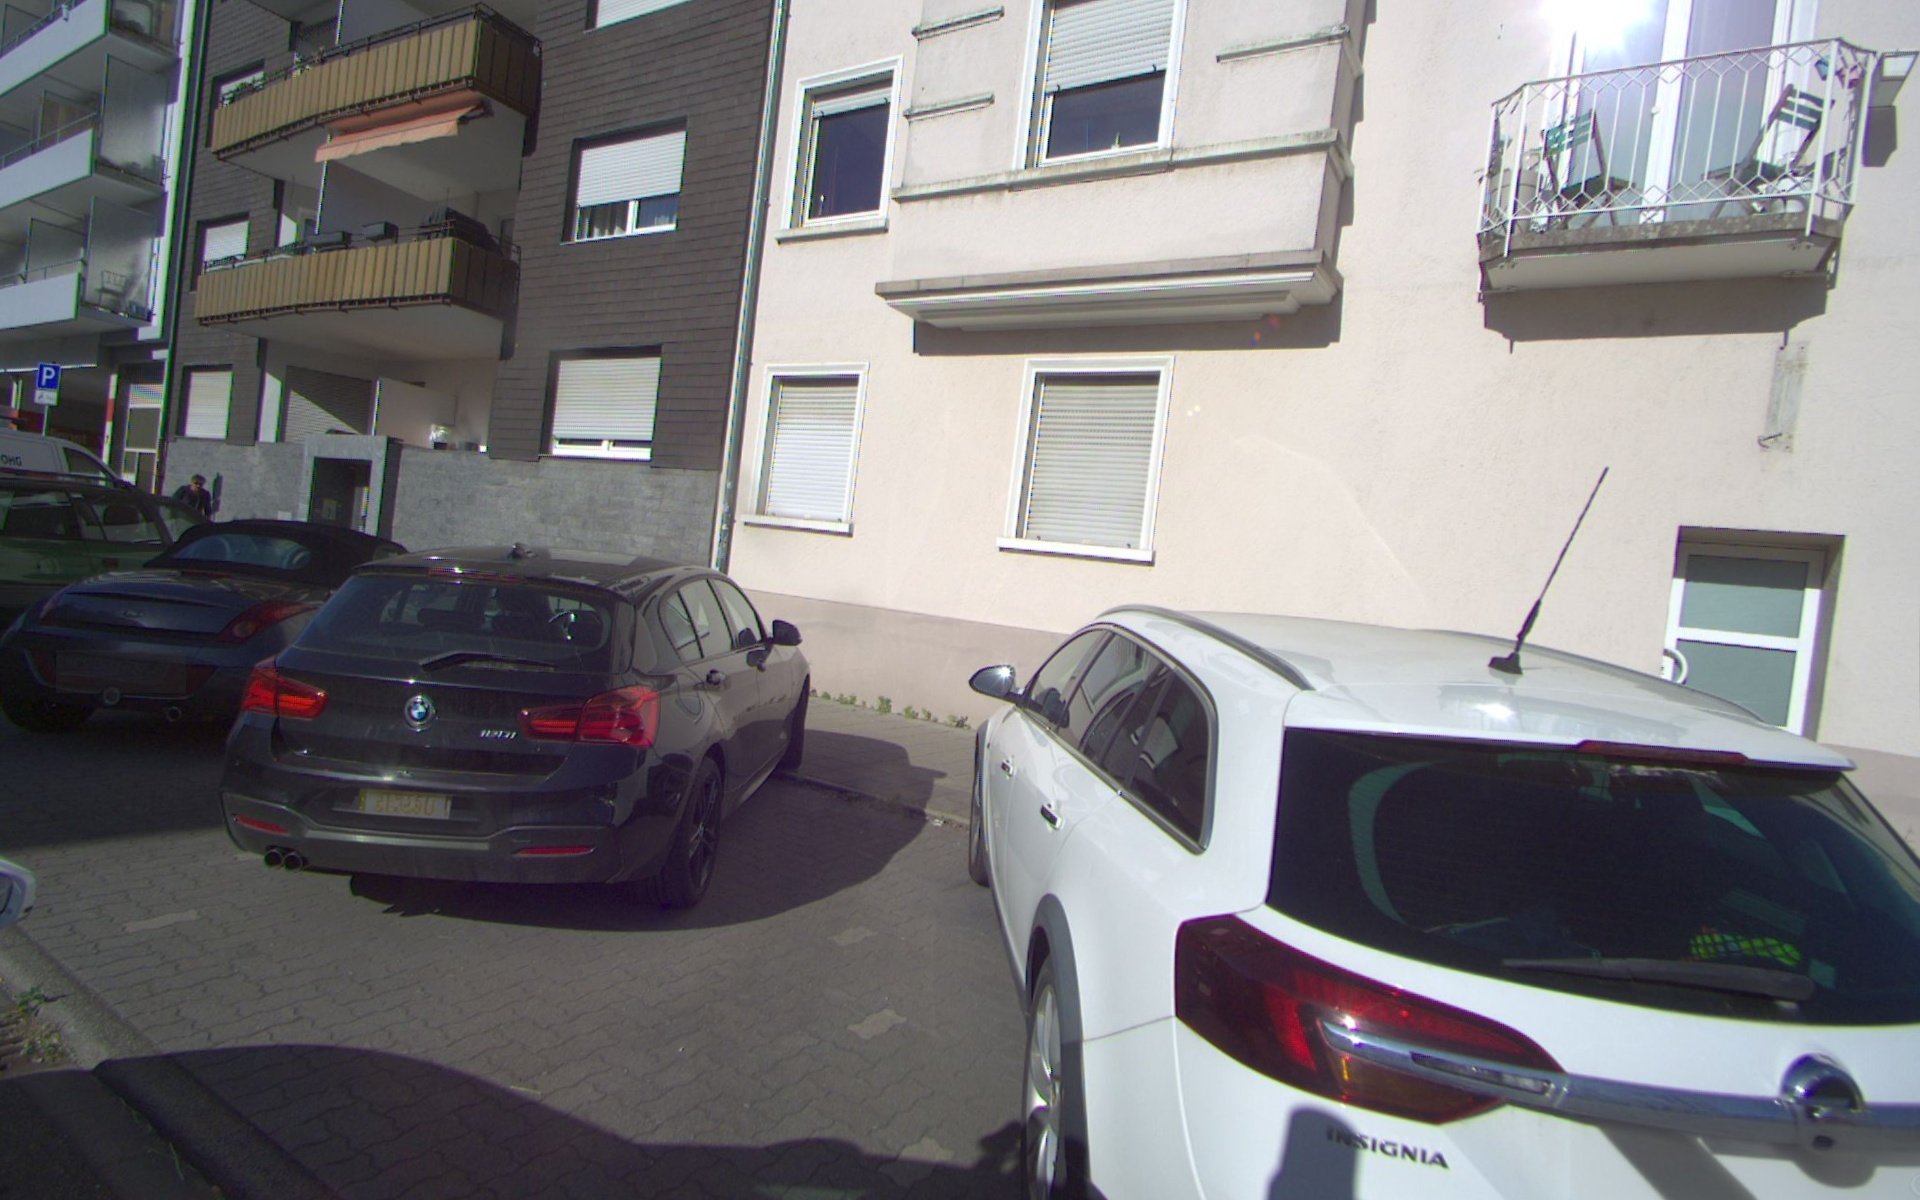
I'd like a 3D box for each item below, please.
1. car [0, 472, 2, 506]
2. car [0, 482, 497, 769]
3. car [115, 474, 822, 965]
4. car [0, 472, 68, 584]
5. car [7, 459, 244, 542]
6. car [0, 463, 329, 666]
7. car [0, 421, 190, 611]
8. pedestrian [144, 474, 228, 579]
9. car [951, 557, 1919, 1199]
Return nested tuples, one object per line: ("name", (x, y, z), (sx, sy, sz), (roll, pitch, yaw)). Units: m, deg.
("car", (-16.816, -1.464, 14.727), (1.662, 1.485, 4.637), (6, 1, -10))
("car", (-4.758, 0.135, 7.223), (1.513, 1.405, 3.392), (7, 0, -7))
("car", (-1.962, 0.422, 5.517), (1.789, 1.516, 4.170), (6, 0, -1))
("car", (-13.799, -1.044, 12.765), (1.728, 1.532, 4.315), (6, 1, -12))
("car", (-21.942, -2.579, 26.637), (1.947, 1.532, 4.393), (7, 1, 32))
("car", (-7.867, -0.382, 9.177), (1.586, 1.510, 3.993), (5, 2, 1))
("car", (-10.795, -0.953, 10.779), (2.014, 1.924, 4.519), (4, 2, -8))
("pedestrian", (-12.973, -1.230, 16.862), (0.875, 1.614, 0.832), (7, 2, 37))
("car", (1.079, 0.721, 3.691), (1.937, 1.483, 4.865), (7, 3, -2))
